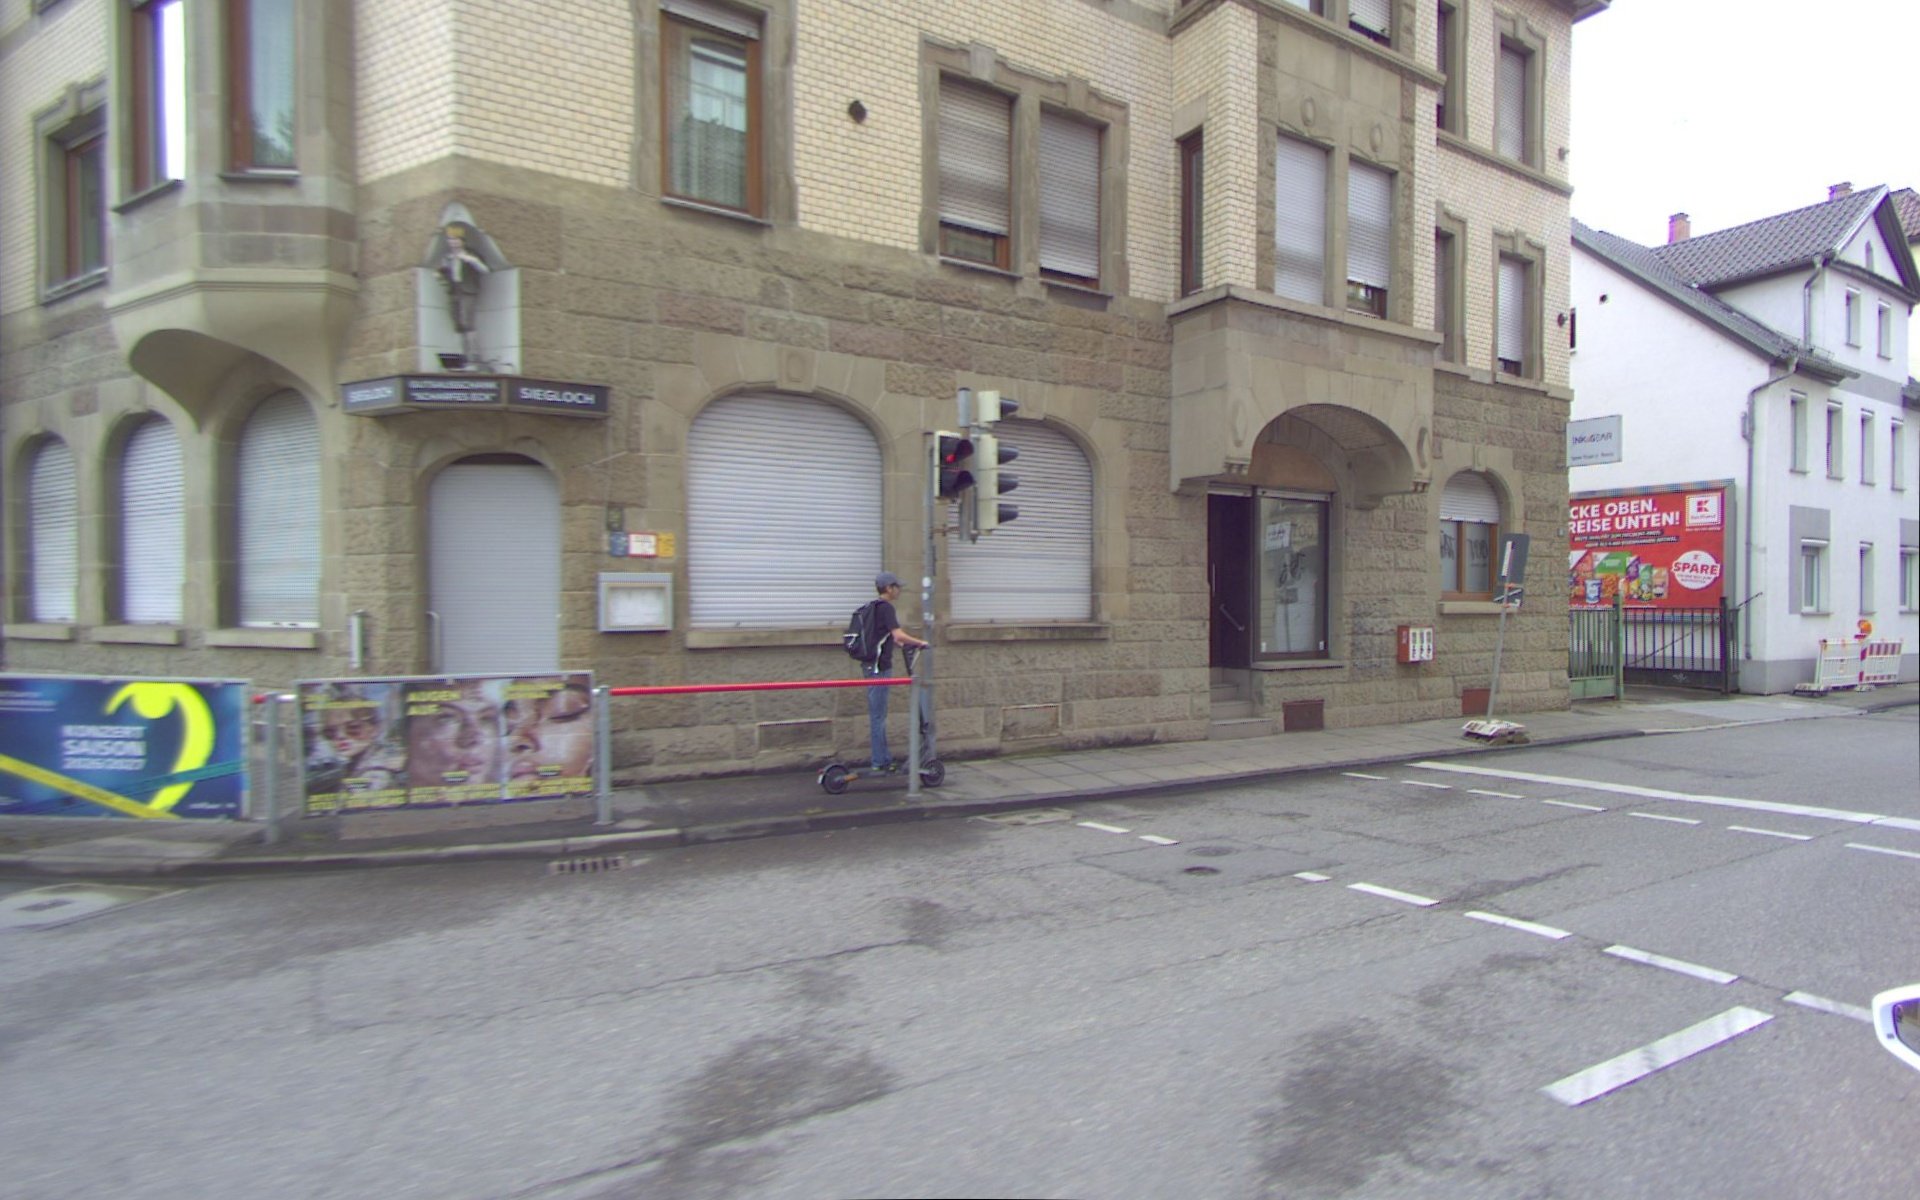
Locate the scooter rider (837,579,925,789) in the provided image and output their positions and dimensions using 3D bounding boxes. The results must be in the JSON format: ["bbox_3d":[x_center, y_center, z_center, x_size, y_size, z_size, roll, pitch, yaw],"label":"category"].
[{"bbox_3d":[-0.686,0.696,8.649,0.570,1.728,0.485,1,2,-28],"label":"scooter rider"}]

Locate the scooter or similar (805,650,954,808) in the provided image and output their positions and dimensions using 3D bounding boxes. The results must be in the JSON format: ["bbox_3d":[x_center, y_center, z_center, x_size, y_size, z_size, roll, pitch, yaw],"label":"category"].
[{"bbox_3d":[-0.686,1.081,8.679,1.211,1.258,0.376,1,2,-28],"label":"scooter or similar"}]
